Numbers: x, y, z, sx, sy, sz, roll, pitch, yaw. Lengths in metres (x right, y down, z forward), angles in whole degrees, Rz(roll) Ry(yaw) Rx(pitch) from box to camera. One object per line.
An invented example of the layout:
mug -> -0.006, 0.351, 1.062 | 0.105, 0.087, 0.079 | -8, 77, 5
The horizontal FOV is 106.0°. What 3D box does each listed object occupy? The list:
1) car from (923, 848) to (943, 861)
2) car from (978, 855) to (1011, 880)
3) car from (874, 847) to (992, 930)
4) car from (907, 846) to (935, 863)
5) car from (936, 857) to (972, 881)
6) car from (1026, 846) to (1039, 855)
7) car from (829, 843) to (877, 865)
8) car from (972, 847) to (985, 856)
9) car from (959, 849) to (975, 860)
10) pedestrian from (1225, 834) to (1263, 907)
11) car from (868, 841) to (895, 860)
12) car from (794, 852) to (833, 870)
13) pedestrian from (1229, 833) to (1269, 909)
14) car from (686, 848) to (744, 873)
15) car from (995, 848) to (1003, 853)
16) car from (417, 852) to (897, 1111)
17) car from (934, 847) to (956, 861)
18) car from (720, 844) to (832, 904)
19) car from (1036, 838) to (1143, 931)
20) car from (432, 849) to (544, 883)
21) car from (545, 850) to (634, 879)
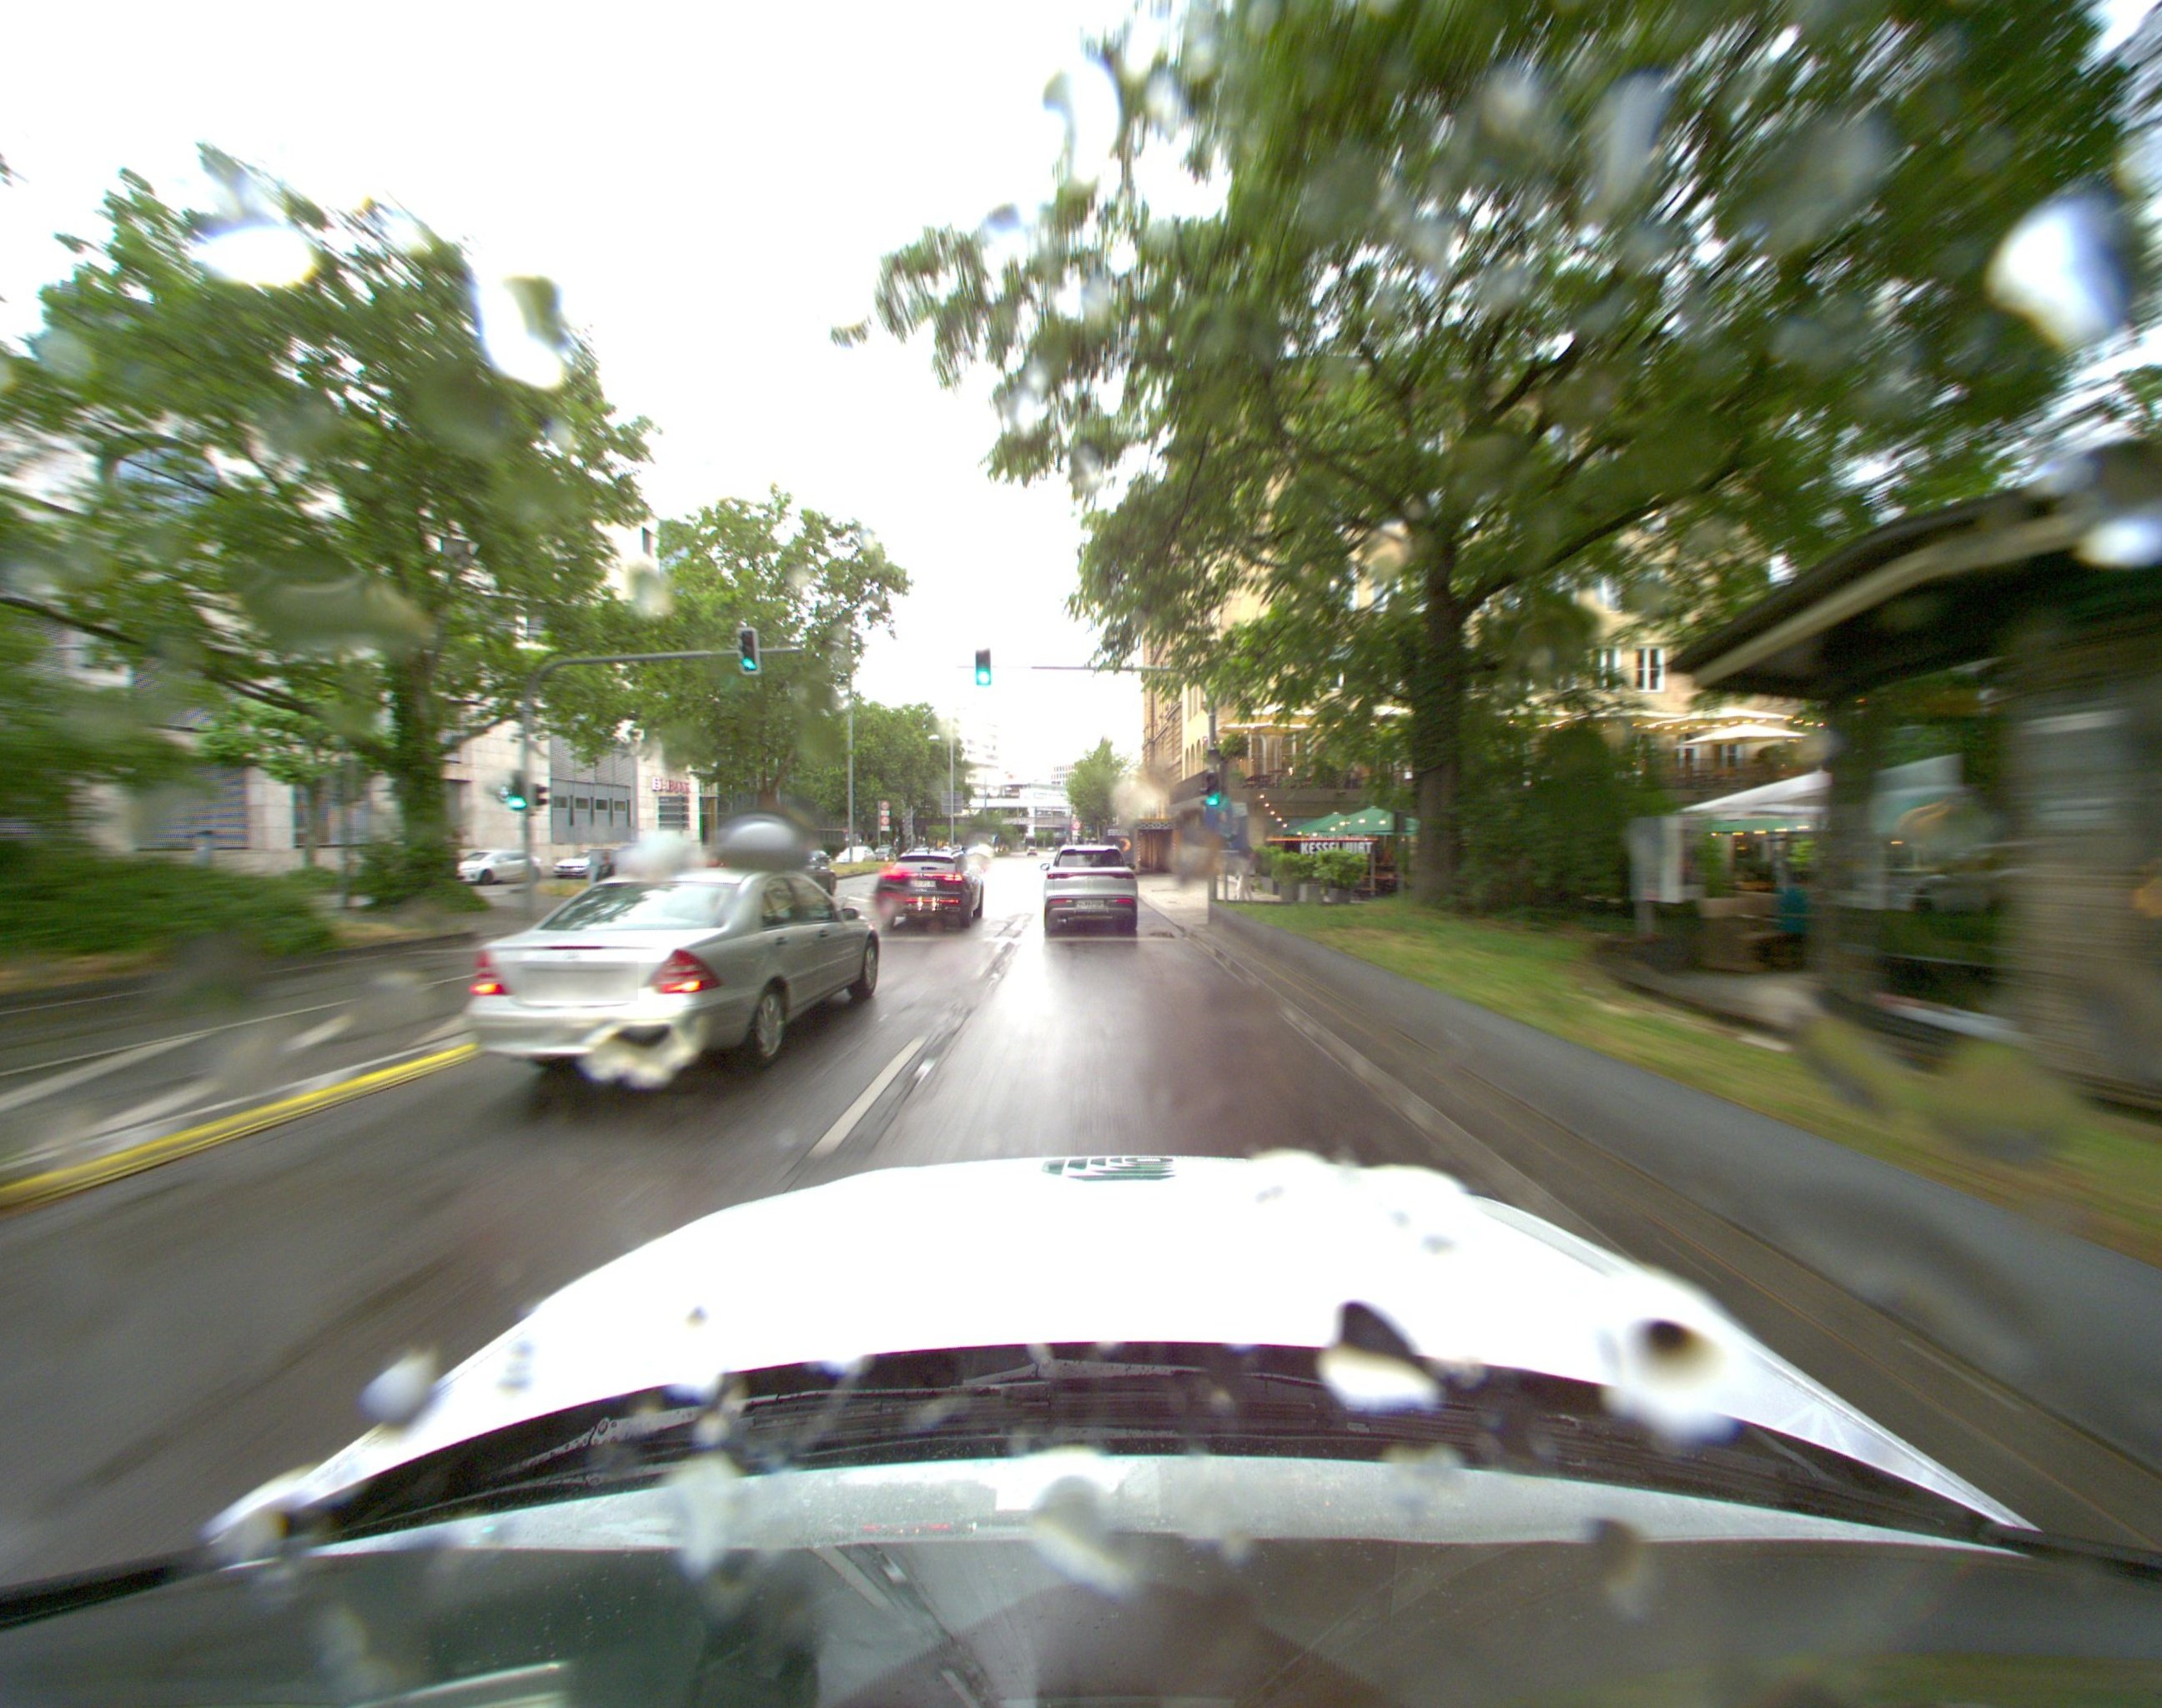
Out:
car -> -18.992, 0.036, 104.558 | 1.789, 1.510, 4.498 | -2, 0, -1
car -> -5.648, 0.869, 53.509 | 1.686, 1.463, 4.344 | -2, 0, -1
car -> -2.952, 0.622, 17.153 | 1.686, 1.463, 4.344 | -2, 0, -1
car -> -15.131, 0.032, 77.400 | 1.789, 1.510, 4.498 | -2, 0, -1
car -> -8.292, 0.954, 53.458 | 1.686, 1.463, 4.344 | -2, 0, -1
car -> -8.505, -0.604, 143.063 | 1.972, 1.463, 4.343 | -2, 0, -1
car -> -15.937, -0.018, 57.086 | 2.153, 1.463, 4.344 | -2, 0, -1
car -> -17.449, -0.465, 138.696 | 1.789, 1.510, 4.344 | -2, 0, -1
car -> -16.610, 0.112, 118.716 | 1.789, 1.510, 4.344 | -2, 0, -1
pedestrian -> 4.016, 0.401, 20.092 | 0.855, 1.780, 0.718 | 0, 0, 5
car -> -21.706, -0.361, 88.740 | 1.789, 1.909, 4.498 | -2, 0, -1
car -> -21.834, 0.558, 66.589 | 1.843, 1.366, 4.237 | 0, 0, -1
pedestrian -> 3.972, 0.400, 19.331 | 0.855, 1.780, 0.718 | 0, 0, 5
car -> -24.816, 0.412, 55.432 | 1.680, 1.642, 4.246 | 0, 0, 6
car -> -22.919, -0.966, 226.979 | 1.789, 1.510, 4.344 | -2, 0, -1
car -> -3.015, 0.753, 7.014 | 1.685, 1.463, 4.347 | -2, 0, 2
car -> -15.967, 0.014, 95.727 | 1.789, 1.510, 4.498 | -2, 0, -1
car -> -9.000, 0.517, 24.387 | 1.693, 1.619, 4.002 | -1, 1, 2
car -> 0.233, 0.541, 16.970 | 1.939, 1.666, 4.347 | 1, 0, 2
car -> -25.576, 0.494, 35.309 | 1.541, 1.403, 4.010 | 0, 0, 9
car -> -25.215, 0.506, 41.990 | 1.680, 1.403, 4.246 | 0, 0, 6
